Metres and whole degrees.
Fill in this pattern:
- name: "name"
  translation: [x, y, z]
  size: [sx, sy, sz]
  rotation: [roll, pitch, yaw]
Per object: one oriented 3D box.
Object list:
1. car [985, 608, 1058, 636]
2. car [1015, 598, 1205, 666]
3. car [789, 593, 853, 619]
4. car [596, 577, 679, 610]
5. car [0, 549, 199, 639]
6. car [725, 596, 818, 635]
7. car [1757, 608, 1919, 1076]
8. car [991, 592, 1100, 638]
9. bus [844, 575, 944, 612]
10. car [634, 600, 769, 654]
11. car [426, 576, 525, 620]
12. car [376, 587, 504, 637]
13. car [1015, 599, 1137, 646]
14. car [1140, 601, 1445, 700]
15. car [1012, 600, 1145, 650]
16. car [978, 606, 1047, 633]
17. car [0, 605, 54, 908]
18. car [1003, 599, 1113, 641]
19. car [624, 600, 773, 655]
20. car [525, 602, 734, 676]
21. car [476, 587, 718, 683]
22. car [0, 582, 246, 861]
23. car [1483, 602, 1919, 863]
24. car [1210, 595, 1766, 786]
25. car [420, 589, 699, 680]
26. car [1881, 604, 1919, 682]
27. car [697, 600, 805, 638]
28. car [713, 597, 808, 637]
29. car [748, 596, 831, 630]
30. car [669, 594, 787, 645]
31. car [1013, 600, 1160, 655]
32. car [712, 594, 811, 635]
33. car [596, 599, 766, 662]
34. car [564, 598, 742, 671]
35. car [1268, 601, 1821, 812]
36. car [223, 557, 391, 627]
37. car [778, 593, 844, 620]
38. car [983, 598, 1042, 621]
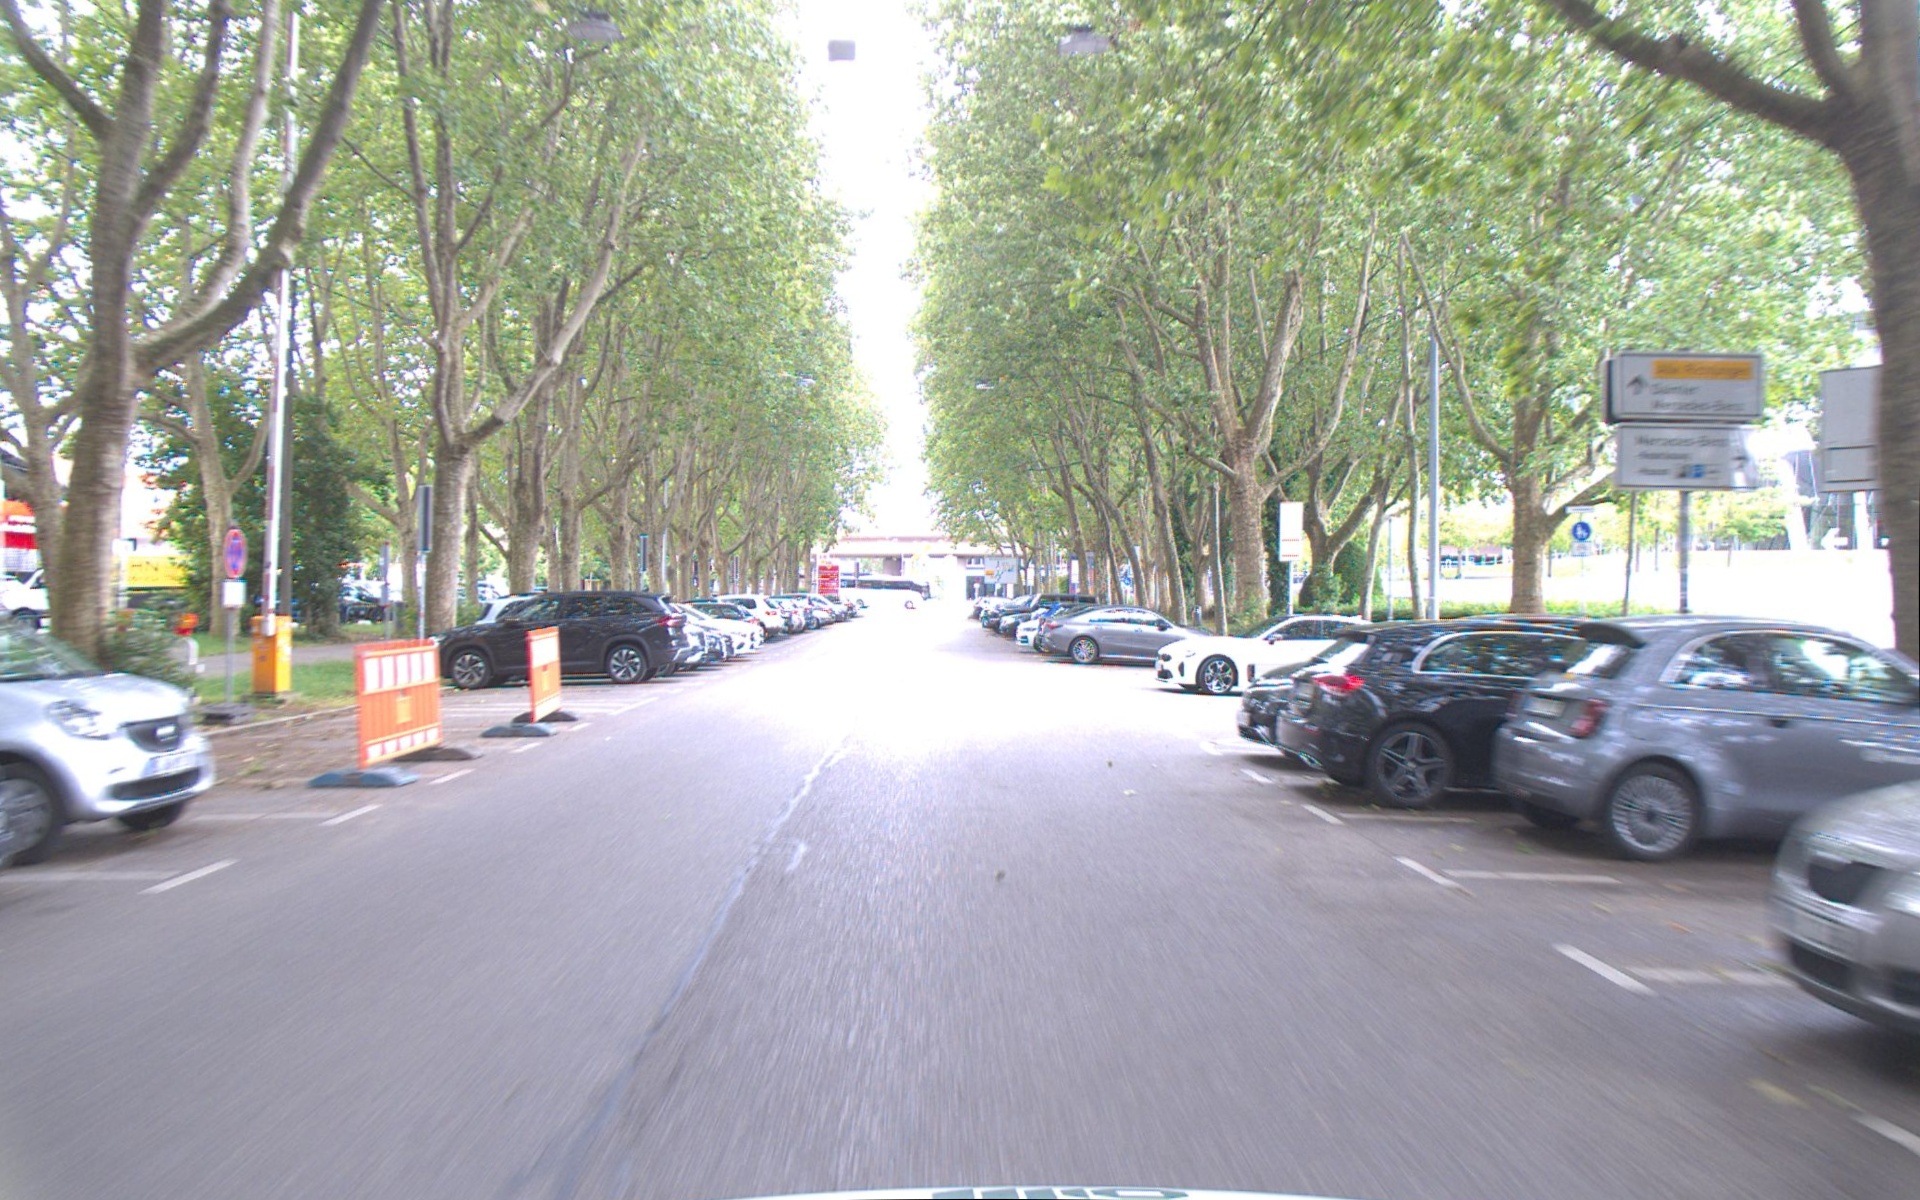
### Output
- name: "car"
  translation: [3.712, 1.336, 100.470]
  size: [4.290, 1.549, 1.730]
  rotation: [1, 0, -4]
- name: "car"
  translation: [3.625, 0.747, 40.287]
  size: [4.478, 1.512, 2.001]
  rotation: [1, 0, 3]
- name: "car"
  translation: [-8.571, 0.381, 102.214]
  size: [3.735, 1.542, 1.686]
  rotation: [1, 0, 2]
- name: "car"
  translation: [-21.356, -0.427, 109.674]
  size: [4.972, 2.050, 2.176]
  rotation: [2, 0, 2]
- name: "car"
  translation: [-23.582, -0.166, 44.986]
  size: [4.976, 2.271, 1.535]
  rotation: [2, 0, -3]
- name: "car"
  translation: [-8.250, 0.670, 72.517]
  size: [3.734, 1.542, 1.687]
  rotation: [-2, 0, 4]
- name: "car"
  translation: [4.799, 0.807, 5.457]
  size: [3.605, 1.448, 1.518]
  rotation: [2, 0, -3]
- name: "car"
  translation: [3.482, 0.602, 67.735]
  size: [4.290, 1.782, 1.730]
  rotation: [1, 0, -4]
- name: "bus"
  translation: [-7.614, -0.733, 189.782]
  size: [11.330, 4.040, 2.455]
  rotation: [-1, -1, 18]
- name: "car"
  translation: [-7.861, 0.810, 50.434]
  size: [3.734, 1.510, 1.663]
  rotation: [-2, 0, 4]
- name: "car"
  translation: [-24.551, -0.098, 83.877]
  size: [4.261, 2.050, 2.176]
  rotation: [2, 0, 2]
- name: "car"
  translation: [-23.132, 0.539, 73.712]
  size: [4.972, 2.050, 2.176]
  rotation: [2, 0, 2]
- name: "car"
  translation: [3.955, 0.770, 56.940]
  size: [3.968, 1.494, 1.730]
  rotation: [1, 0, -4]
- name: "car"
  translation: [5.833, 0.876, 29.214]
  size: [4.845, 1.427, 1.994]
  rotation: [3, 0, -12]
- name: "car"
  translation: [3.743, 0.788, 52.399]
  size: [4.088, 1.467, 1.732]
  rotation: [1, 0, 3]
- name: "car"
  translation: [3.301, 1.218, 104.477]
  size: [4.287, 1.549, 1.731]
  rotation: [1, 0, -1]
- name: "car"
  translation: [-6.725, 0.798, 7.475]
  size: [4.247, 1.455, 1.693]
  rotation: [-1, 0, -4]
- name: "car"
  translation: [3.674, 0.750, 62.644]
  size: [3.968, 1.494, 1.730]
  rotation: [1, 0, -4]
- name: "car"
  translation: [-7.153, 0.744, 45.460]
  size: [3.734, 1.354, 1.663]
  rotation: [-2, 0, 4]
- name: "car"
  translation: [-6.981, 0.804, 35.271]
  size: [4.084, 1.405, 1.870]
  rotation: [-2, 0, -3]
- name: "car"
  translation: [-7.084, 0.670, 32.605]
  size: [4.383, 1.706, 1.761]
  rotation: [-2, 0, -3]
- name: "car"
  translation: [-6.669, 0.718, 10.227]
  size: [3.752, 1.582, 1.693]
  rotation: [-1, 0, -4]
- name: "car"
  translation: [5.392, 0.831, 10.915]
  size: [3.356, 1.534, 1.555]
  rotation: [2, 0, -3]
- name: "car"
  translation: [4.833, 0.804, 15.580]
  size: [4.566, 1.477, 1.925]
  rotation: [3, 0, -3]
- name: "car"
  translation: [-7.178, 0.608, 30.025]
  size: [4.571, 1.452, 1.999]
  rotation: [-2, 0, -3]
- name: "car"
  translation: [19.904, 0.795, 30.461]
  size: [4.833, 1.427, 1.999]
  rotation: [0, 0, -3]
- name: "car"
  translation: [-7.897, 0.705, 62.760]
  size: [3.734, 1.319, 1.787]
  rotation: [-2, 0, 4]
- name: "car"
  translation: [-8.446, 0.716, 70.257]
  size: [3.734, 1.542, 1.687]
  rotation: [-2, 0, 4]
- name: "car"
  translation: [-8.248, 0.625, 80.309]
  size: [3.734, 1.542, 1.687]
  rotation: [-2, 0, 4]
- name: "car"
  translation: [-8.039, 0.657, 57.619]
  size: [3.734, 1.630, 1.787]
  rotation: [-2, 0, 4]
- name: "car"
  translation: [3.616, 0.770, 47.439]
  size: [4.088, 1.467, 1.732]
  rotation: [1, 0, 3]
- name: "car"
  translation: [-8.138, 0.598, 68.037]
  size: [3.734, 1.542, 1.687]
  rotation: [-2, 0, 4]
- name: "car"
  translation: [-6.720, 0.737, 40.104]
  size: [3.734, 1.377, 1.663]
  rotation: [-2, 0, 4]
- name: "car"
  translation: [-6.956, 0.760, 37.755]
  size: [3.738, 1.510, 1.661]
  rotation: [-2, 0, -3]
- name: "car"
  translation: [4.551, 0.806, 13.197]
  size: [3.840, 1.477, 1.555]
  rotation: [2, 0, -3]
- name: "car"
  translation: [-22.901, -0.296, 58.111]
  size: [4.972, 2.271, 2.176]
  rotation: [2, 0, 2]
- name: "car"
  translation: [-8.995, 0.388, 100.014]
  size: [3.735, 1.542, 1.686]
  rotation: [1, 0, 2]
- name: "car"
  translation: [3.851, 0.689, 121.860]
  size: [4.287, 1.549, 1.731]
  rotation: [1, 0, -1]
